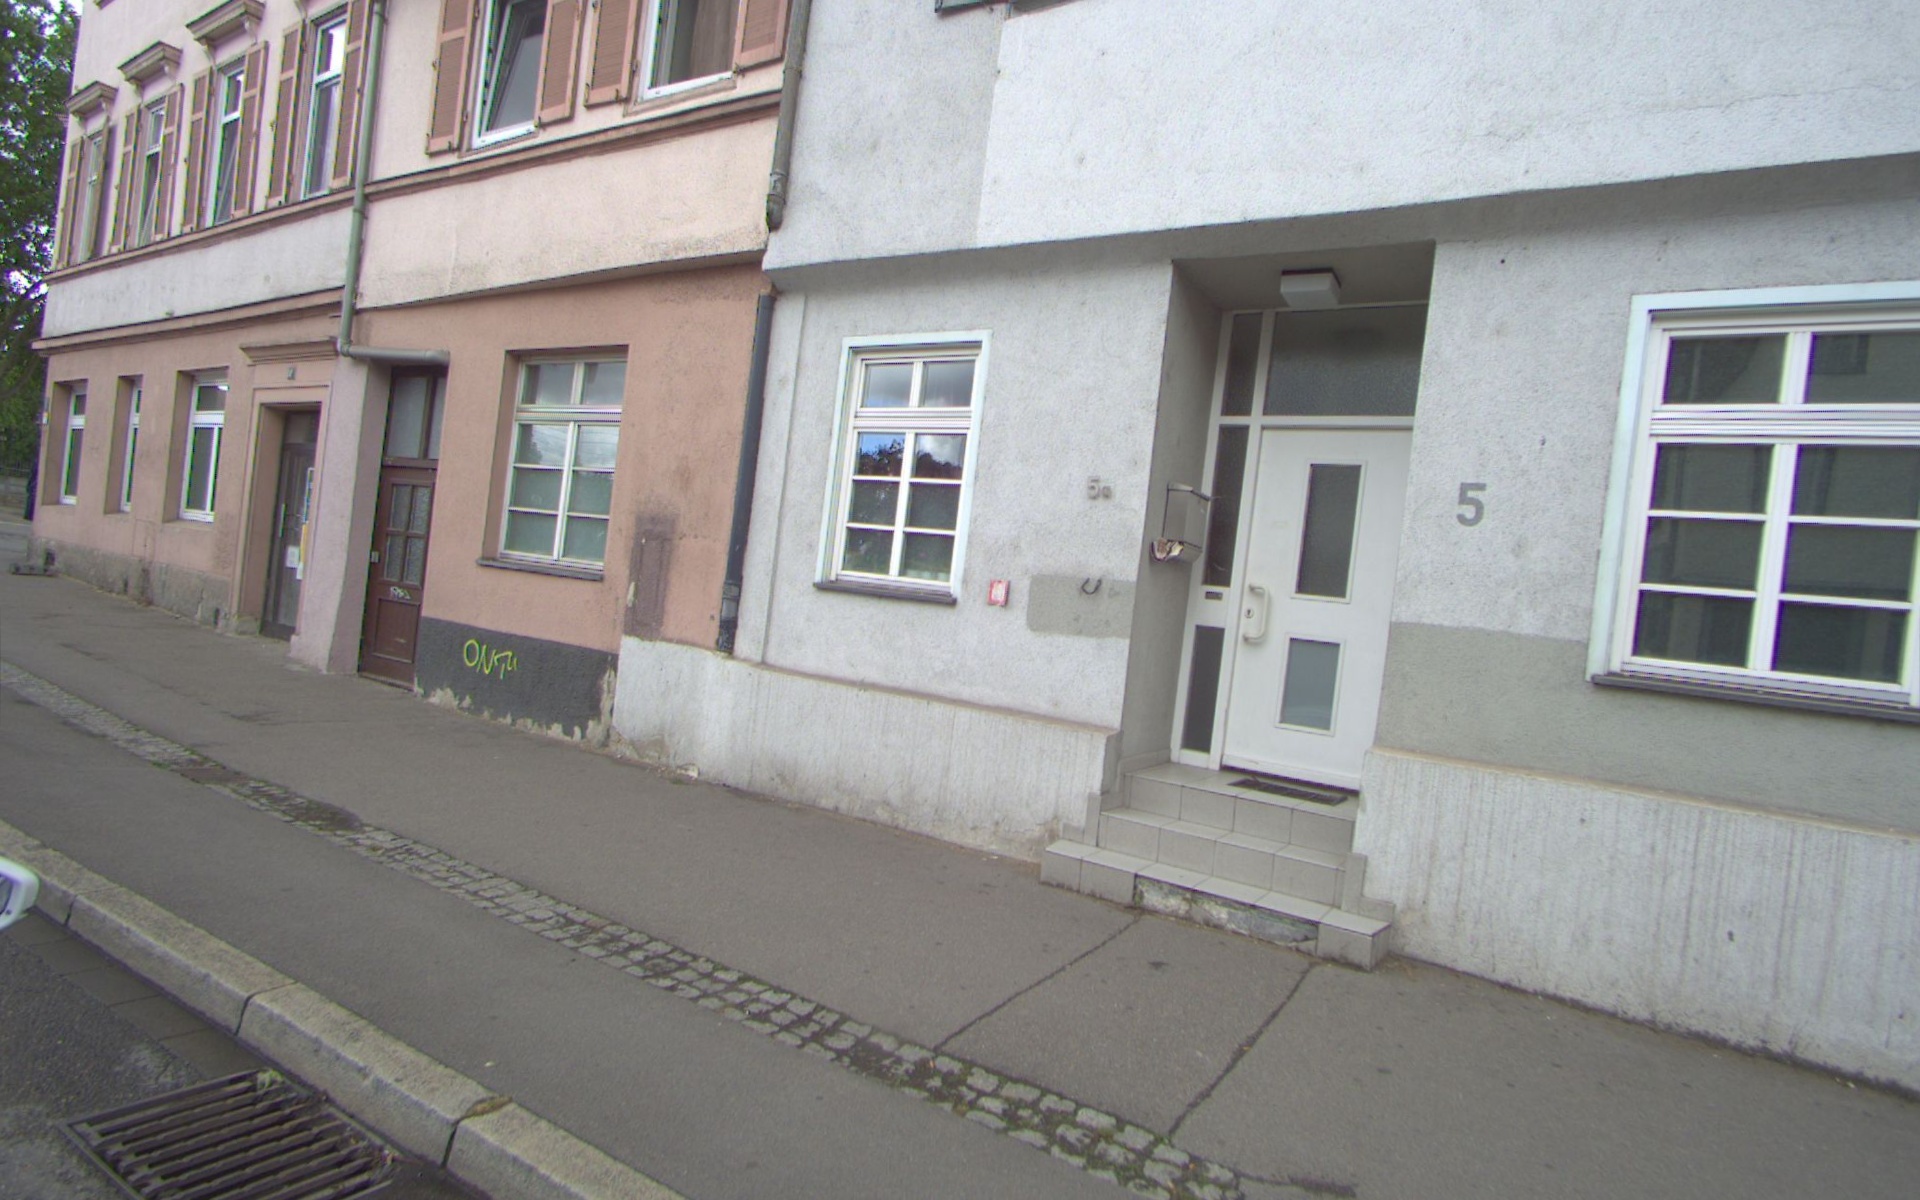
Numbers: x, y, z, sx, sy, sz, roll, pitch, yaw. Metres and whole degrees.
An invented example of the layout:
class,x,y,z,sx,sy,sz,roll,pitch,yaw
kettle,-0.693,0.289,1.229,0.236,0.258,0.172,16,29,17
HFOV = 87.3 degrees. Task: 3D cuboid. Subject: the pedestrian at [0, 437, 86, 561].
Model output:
class,x,y,z,sx,sy,sz,roll,pitch,yaw
pedestrian,-15.126,-1.624,16.336,0.666,1.880,1.153,7,2,3
